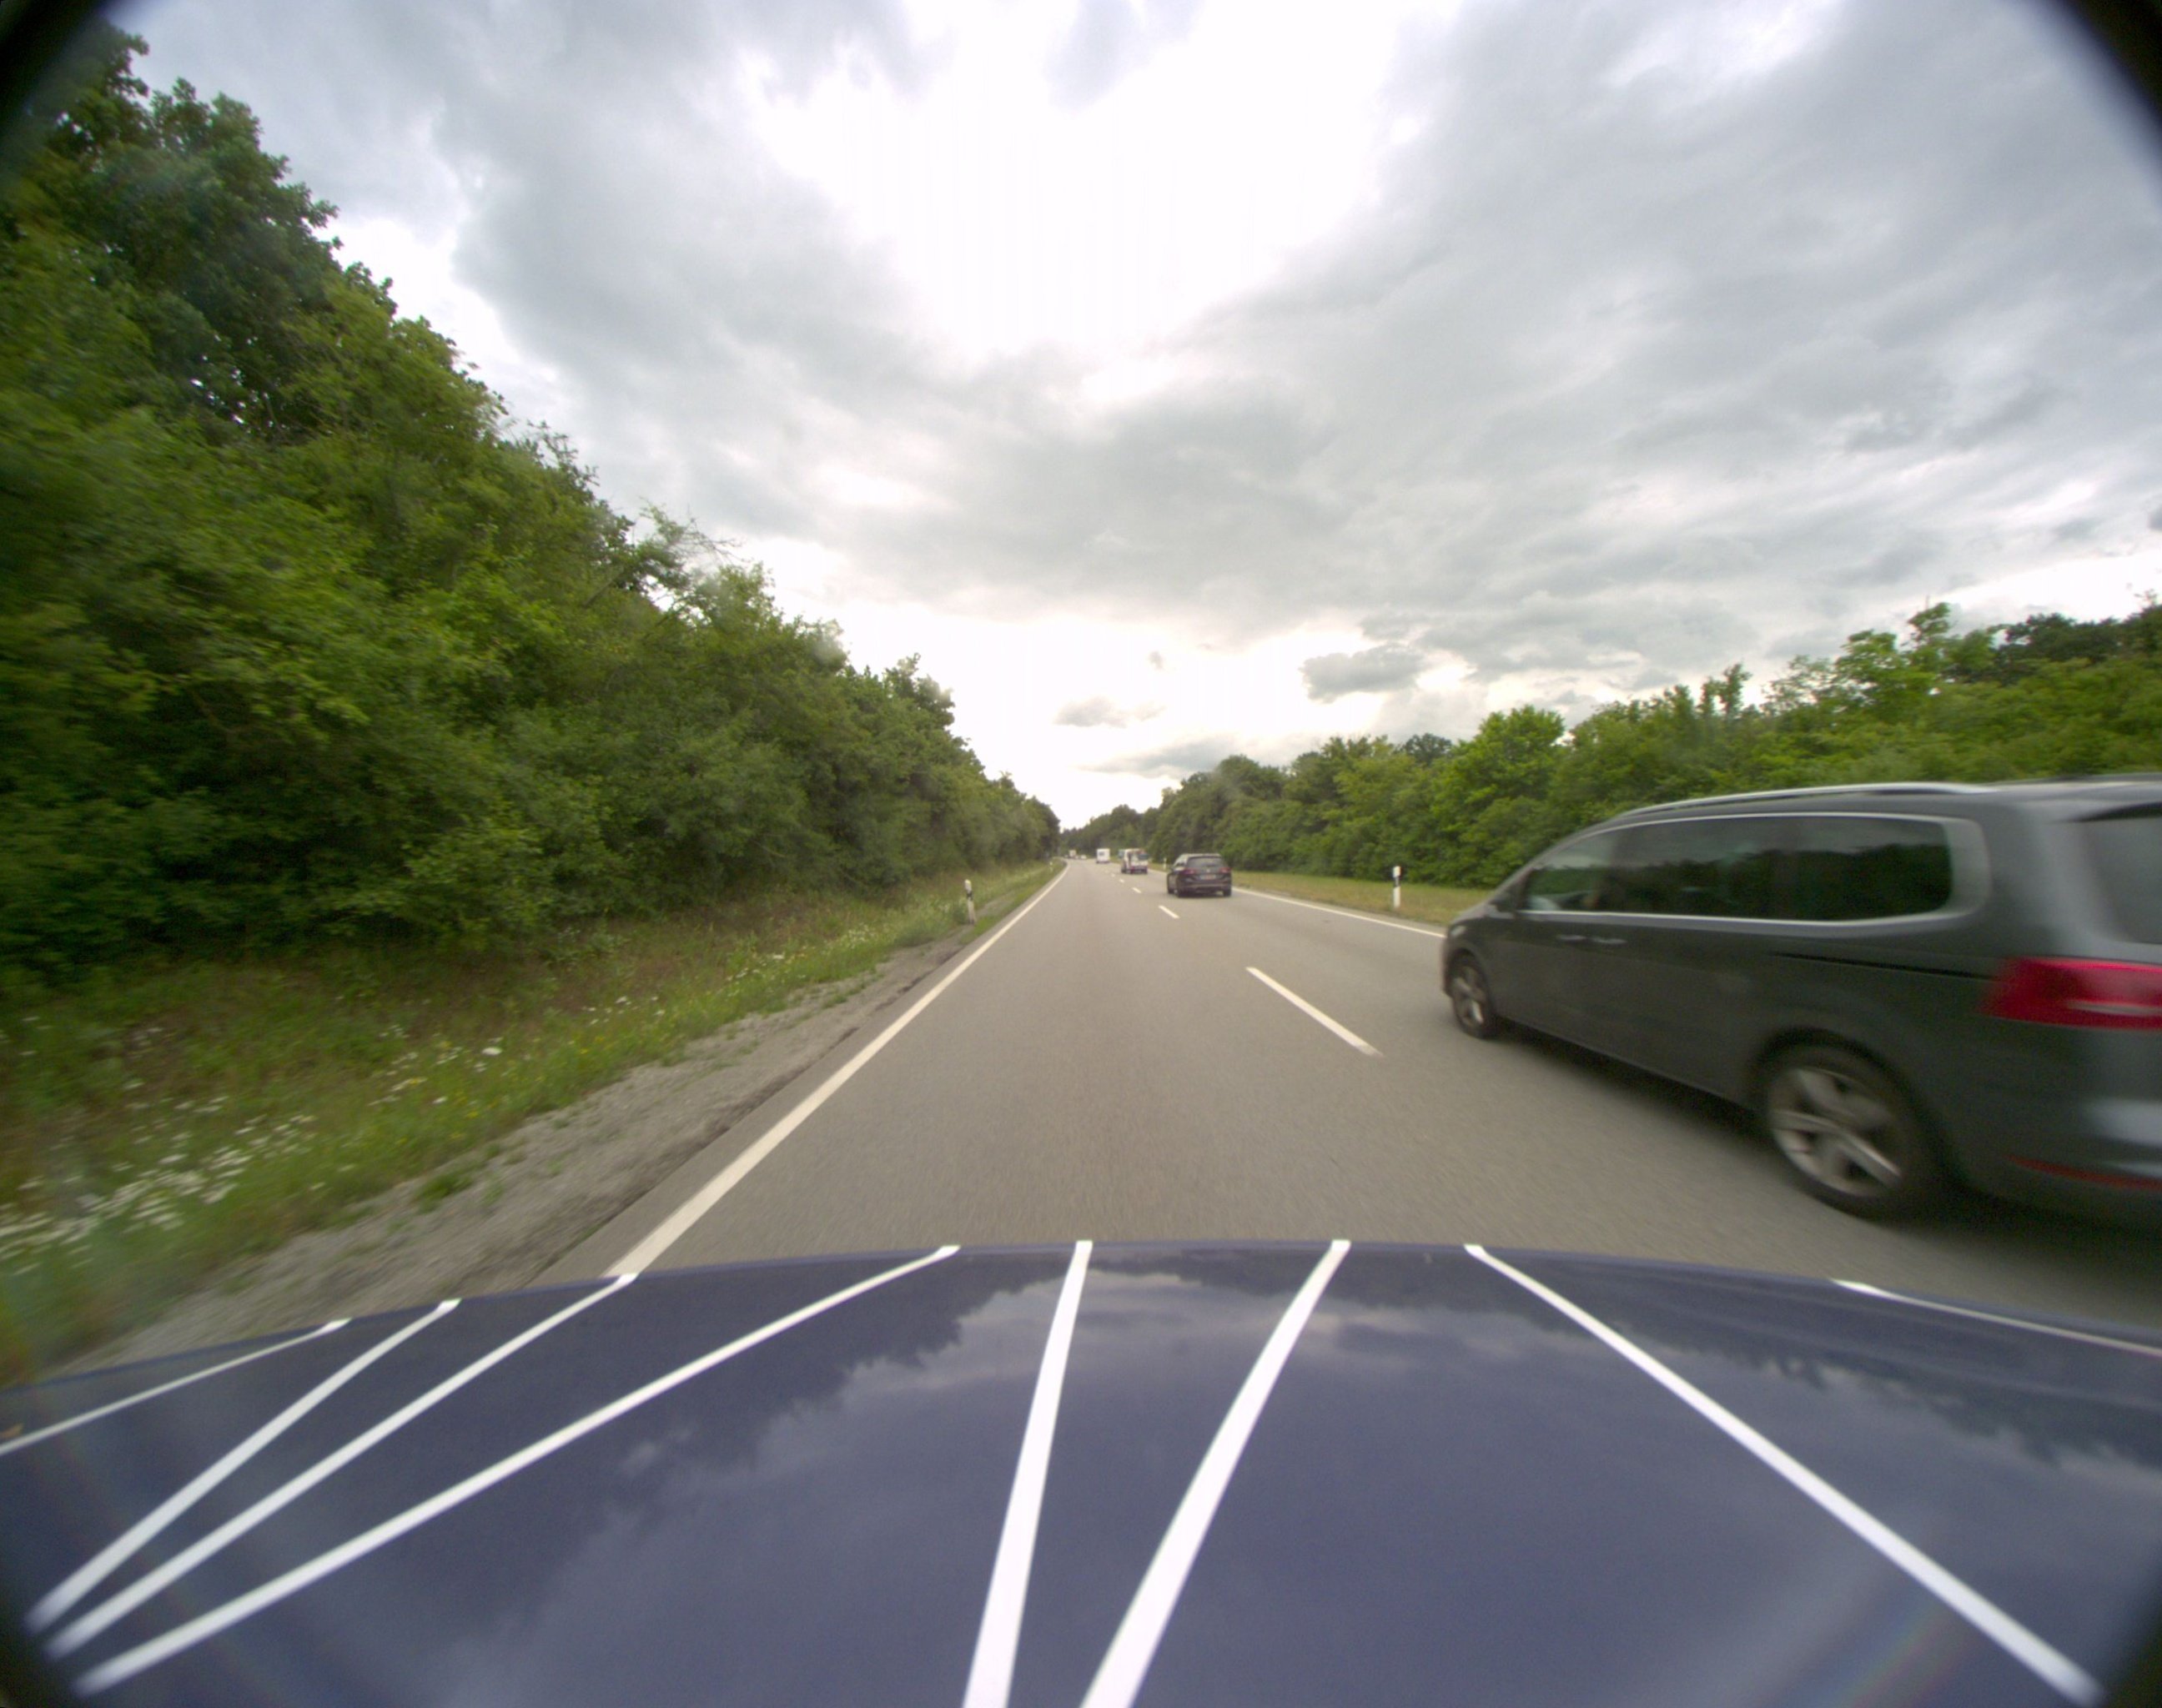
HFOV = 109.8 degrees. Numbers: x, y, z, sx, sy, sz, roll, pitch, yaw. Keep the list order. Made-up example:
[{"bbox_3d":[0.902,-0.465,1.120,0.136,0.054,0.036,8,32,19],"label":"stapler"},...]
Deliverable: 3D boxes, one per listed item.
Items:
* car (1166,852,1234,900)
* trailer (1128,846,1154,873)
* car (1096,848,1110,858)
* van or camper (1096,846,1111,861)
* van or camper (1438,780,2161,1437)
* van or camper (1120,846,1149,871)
[{"bbox_3d":[4.079,0.700,26.750,1.692,1.471,4.455,-2,0,0],"label":"car"},{"bbox_3d":[4.452,0.374,56.985,1.626,1.881,3.783,-2,1,0],"label":"trailer"},{"bbox_3d":[4.056,-0.200,142.930,2.285,1.594,4.691,-6,0,0],"label":"car"},{"bbox_3d":[4.084,-0.045,137.445,2.386,2.560,6.278,-2,0,0],"label":"van or camper"},{"bbox_3d":[3.898,0.640,3.942,1.998,1.772,4.421,-2,0,0],"label":"van or camper"},{"bbox_3d":[4.300,0.327,61.641,1.926,1.881,5.361,-2,0,0],"label":"van or camper"}]
